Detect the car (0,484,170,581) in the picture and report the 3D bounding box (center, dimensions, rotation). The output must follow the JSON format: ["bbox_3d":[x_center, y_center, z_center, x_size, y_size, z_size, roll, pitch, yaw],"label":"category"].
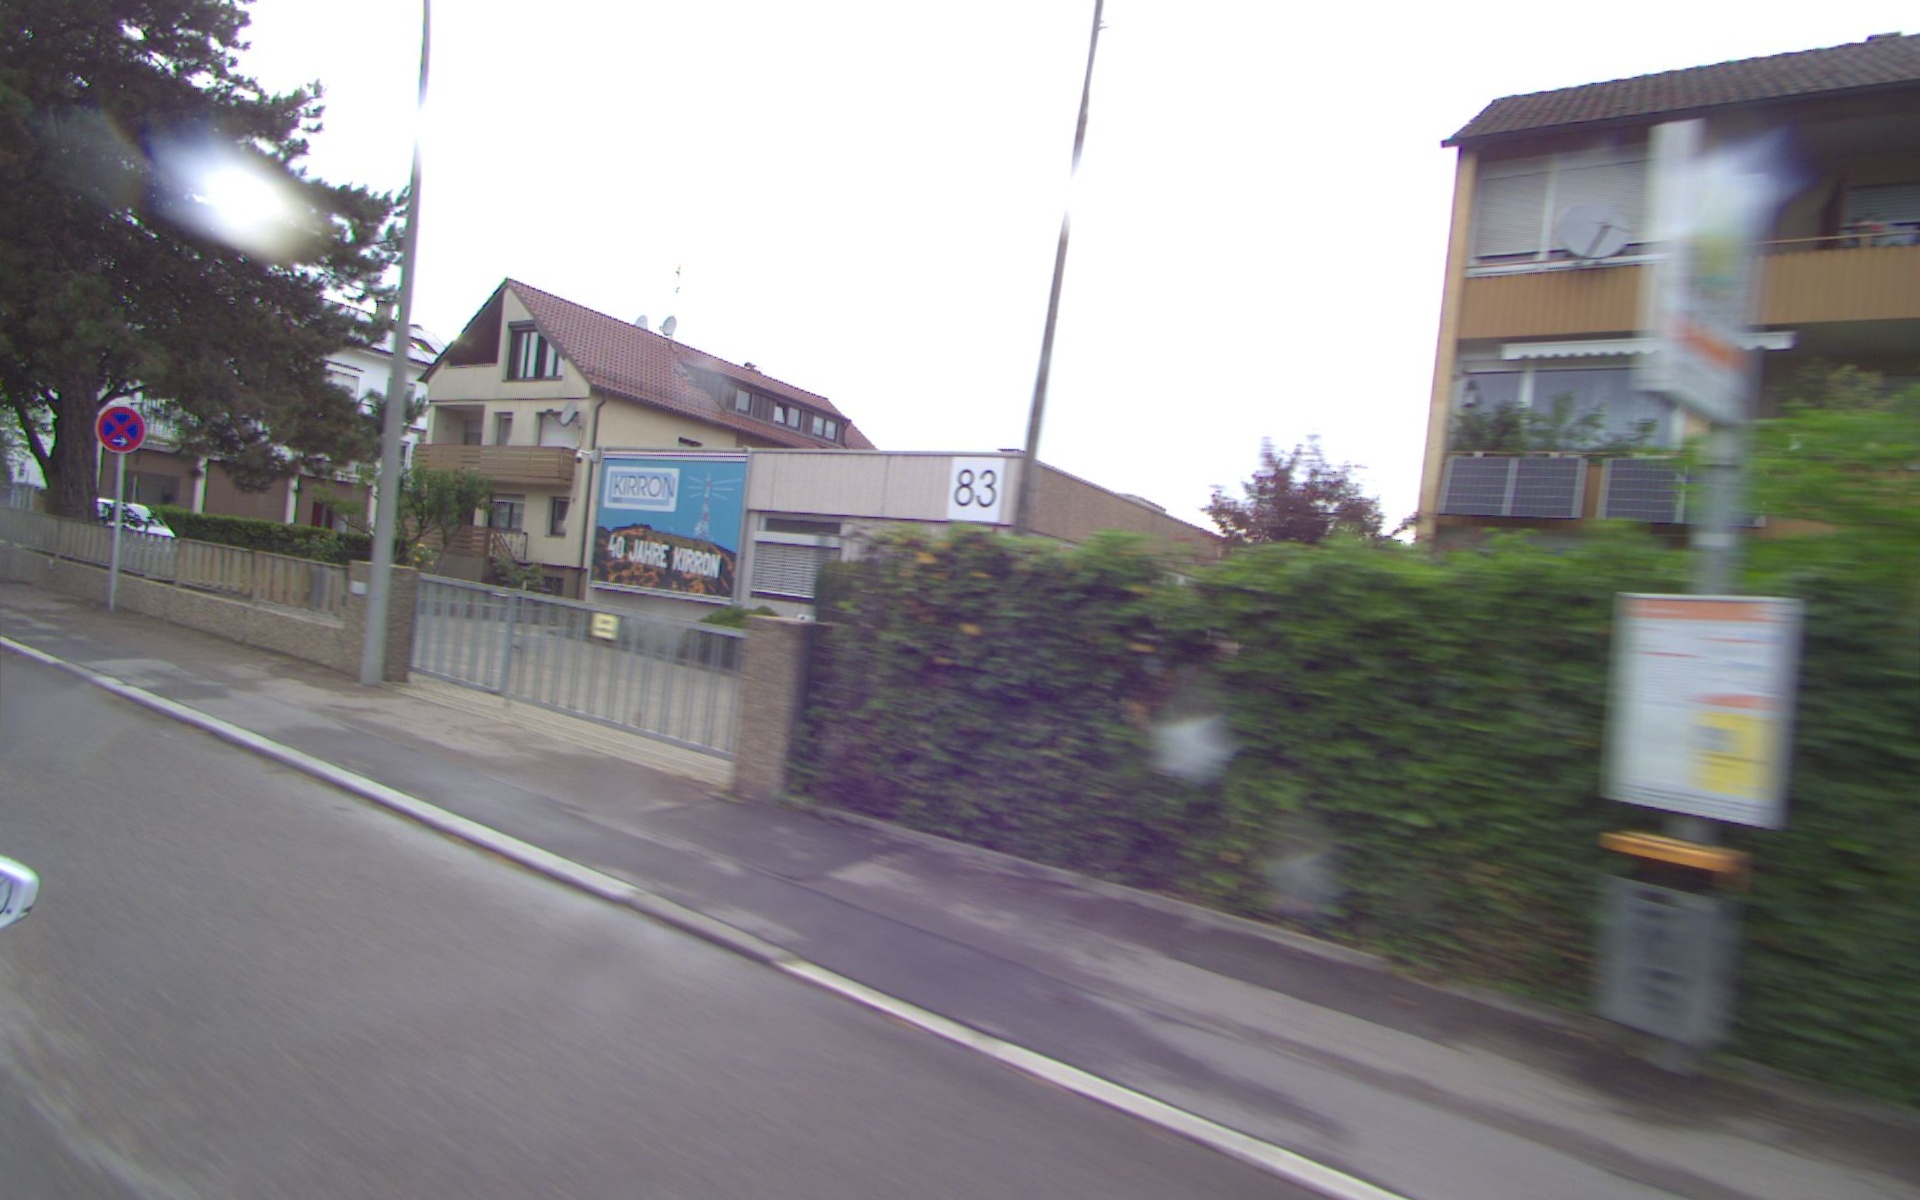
[{"bbox_3d":[-17.861,-1.348,20.032,3.935,1.502,1.998,4,-4,32],"label":"car"}]
